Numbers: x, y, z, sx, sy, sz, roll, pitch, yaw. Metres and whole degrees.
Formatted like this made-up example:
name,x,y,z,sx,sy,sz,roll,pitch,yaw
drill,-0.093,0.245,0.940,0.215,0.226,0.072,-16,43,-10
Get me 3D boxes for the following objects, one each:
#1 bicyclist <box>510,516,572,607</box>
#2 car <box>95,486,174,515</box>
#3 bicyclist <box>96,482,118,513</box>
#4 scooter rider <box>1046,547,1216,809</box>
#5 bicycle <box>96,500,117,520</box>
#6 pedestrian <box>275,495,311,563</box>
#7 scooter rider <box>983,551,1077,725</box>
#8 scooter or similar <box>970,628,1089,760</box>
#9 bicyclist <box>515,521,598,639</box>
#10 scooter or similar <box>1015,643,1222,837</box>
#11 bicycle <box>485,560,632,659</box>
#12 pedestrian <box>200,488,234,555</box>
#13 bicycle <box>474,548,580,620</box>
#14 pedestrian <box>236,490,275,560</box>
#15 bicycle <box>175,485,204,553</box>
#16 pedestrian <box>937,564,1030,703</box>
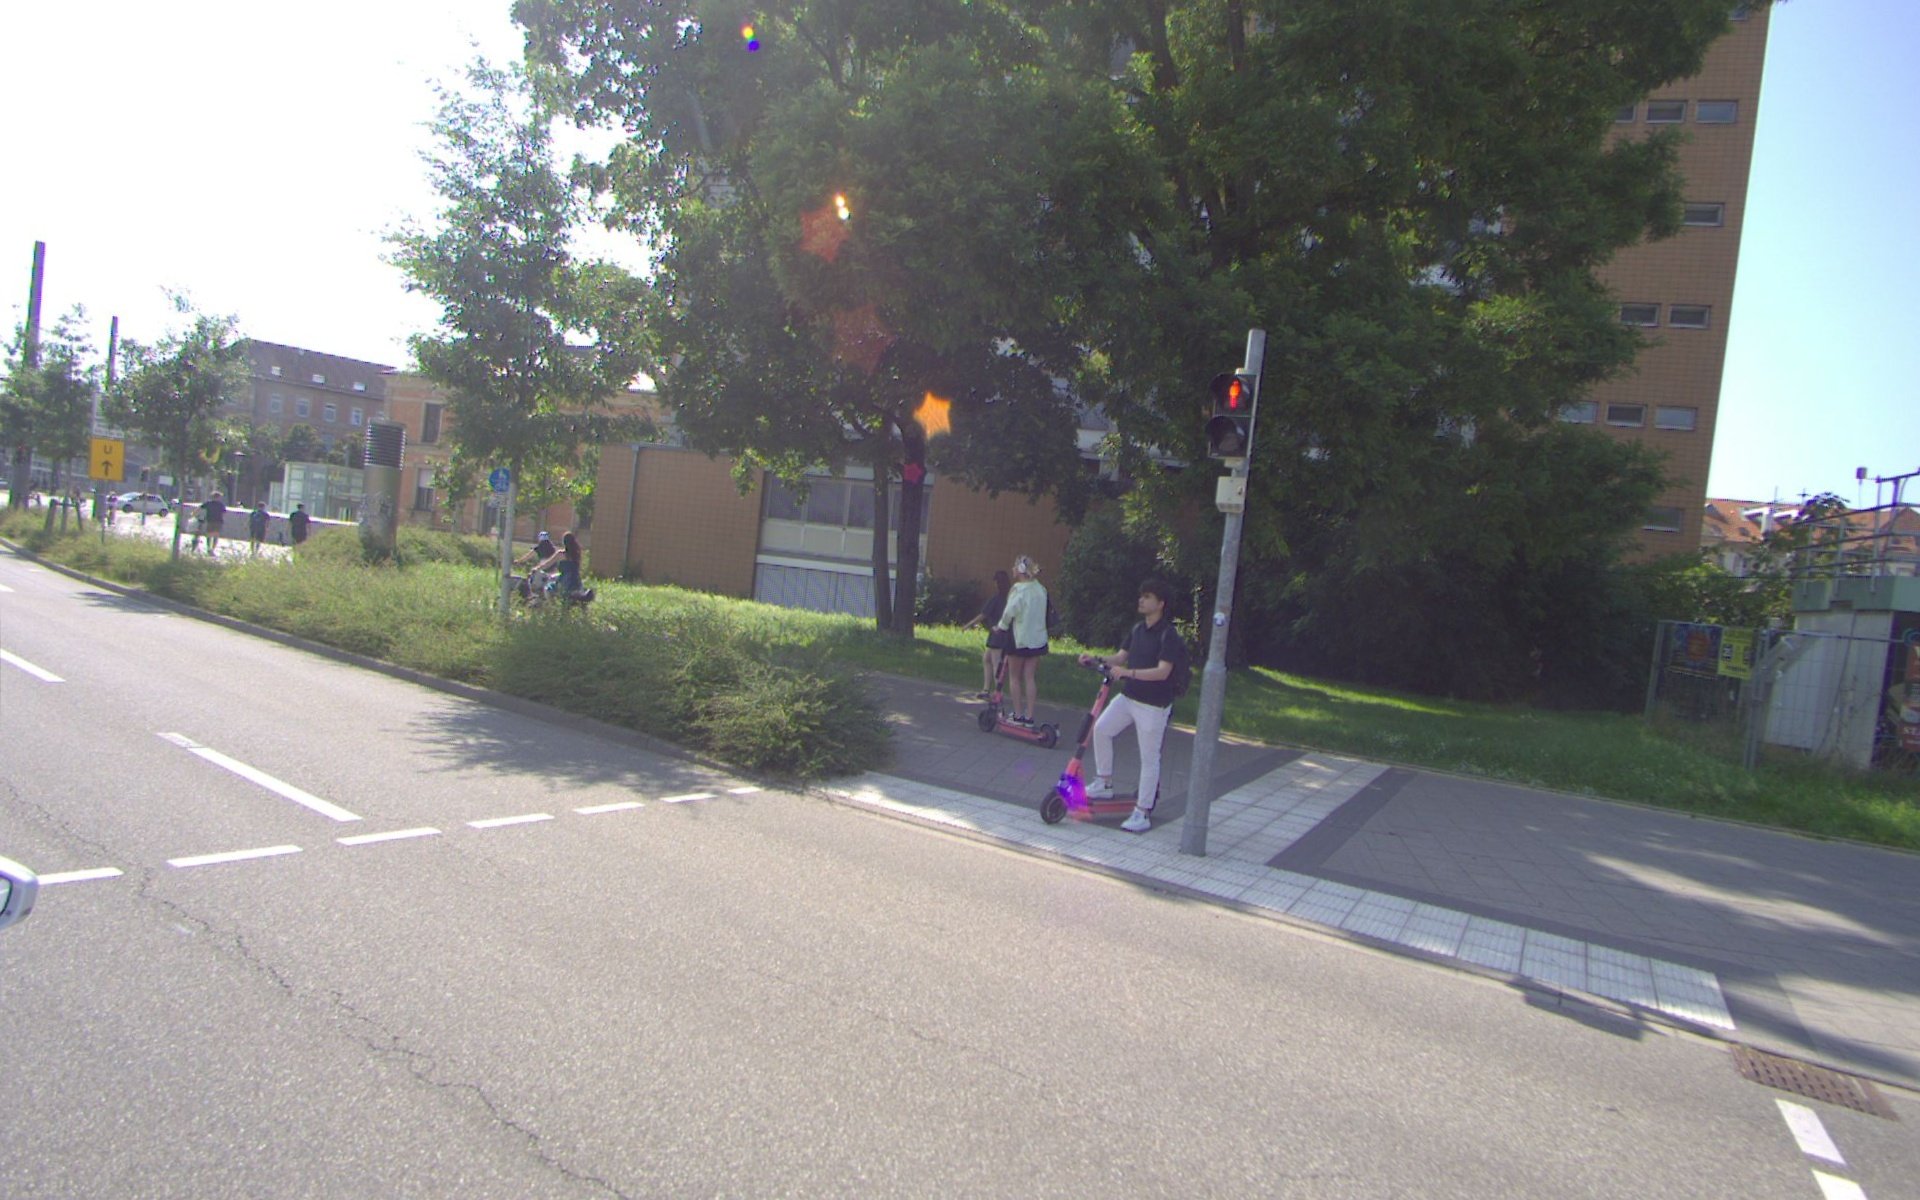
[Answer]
name,x,y,z,sx,sy,sz,roll,pitch,yaw
bicyclist,-7.453,-0.679,17.908,0.789,1.517,0.549,7,4,27
car,-60.139,-7.261,73.387,1.743,1.443,4.066,7,0,18
bicyclist,-39.265,-4.706,46.321,0.671,1.337,0.675,5,2,-41
scooter rider,1.230,0.546,7.284,0.797,1.762,0.682,4,3,-34
bicycle,-39.387,-4.162,46.412,0.671,0.786,2.103,5,1,-41
pedestrian,-20.826,-2.211,31.415,0.772,1.998,0.747,5,2,-32
scooter rider,0.724,0.386,10.562,0.662,1.723,0.537,5,4,-15
scooter or similar,0.676,0.930,10.549,0.549,1.074,1.996,4,3,-15
bicyclist,-5.873,-0.289,14.652,0.830,1.621,0.690,7,4,33
scooter or similar,1.170,1.004,7.357,1.354,1.250,0.580,5,2,-35
bicycle,-5.876,0.112,14.657,2.332,1.170,0.693,7,3,33
pedestrian,-22.184,-2.338,30.047,0.655,1.884,0.785,5,2,-34
bicycle,-7.800,-0.298,18.091,1.969,1.074,0.557,7,3,27
pedestrian,-21.393,-2.269,30.555,0.772,1.998,0.747,5,2,-32
bicycle,-22.619,-2.378,29.548,0.452,1.884,1.350,5,2,-34
pedestrian,0.314,0.438,13.537,0.864,1.728,0.705,7,4,32
